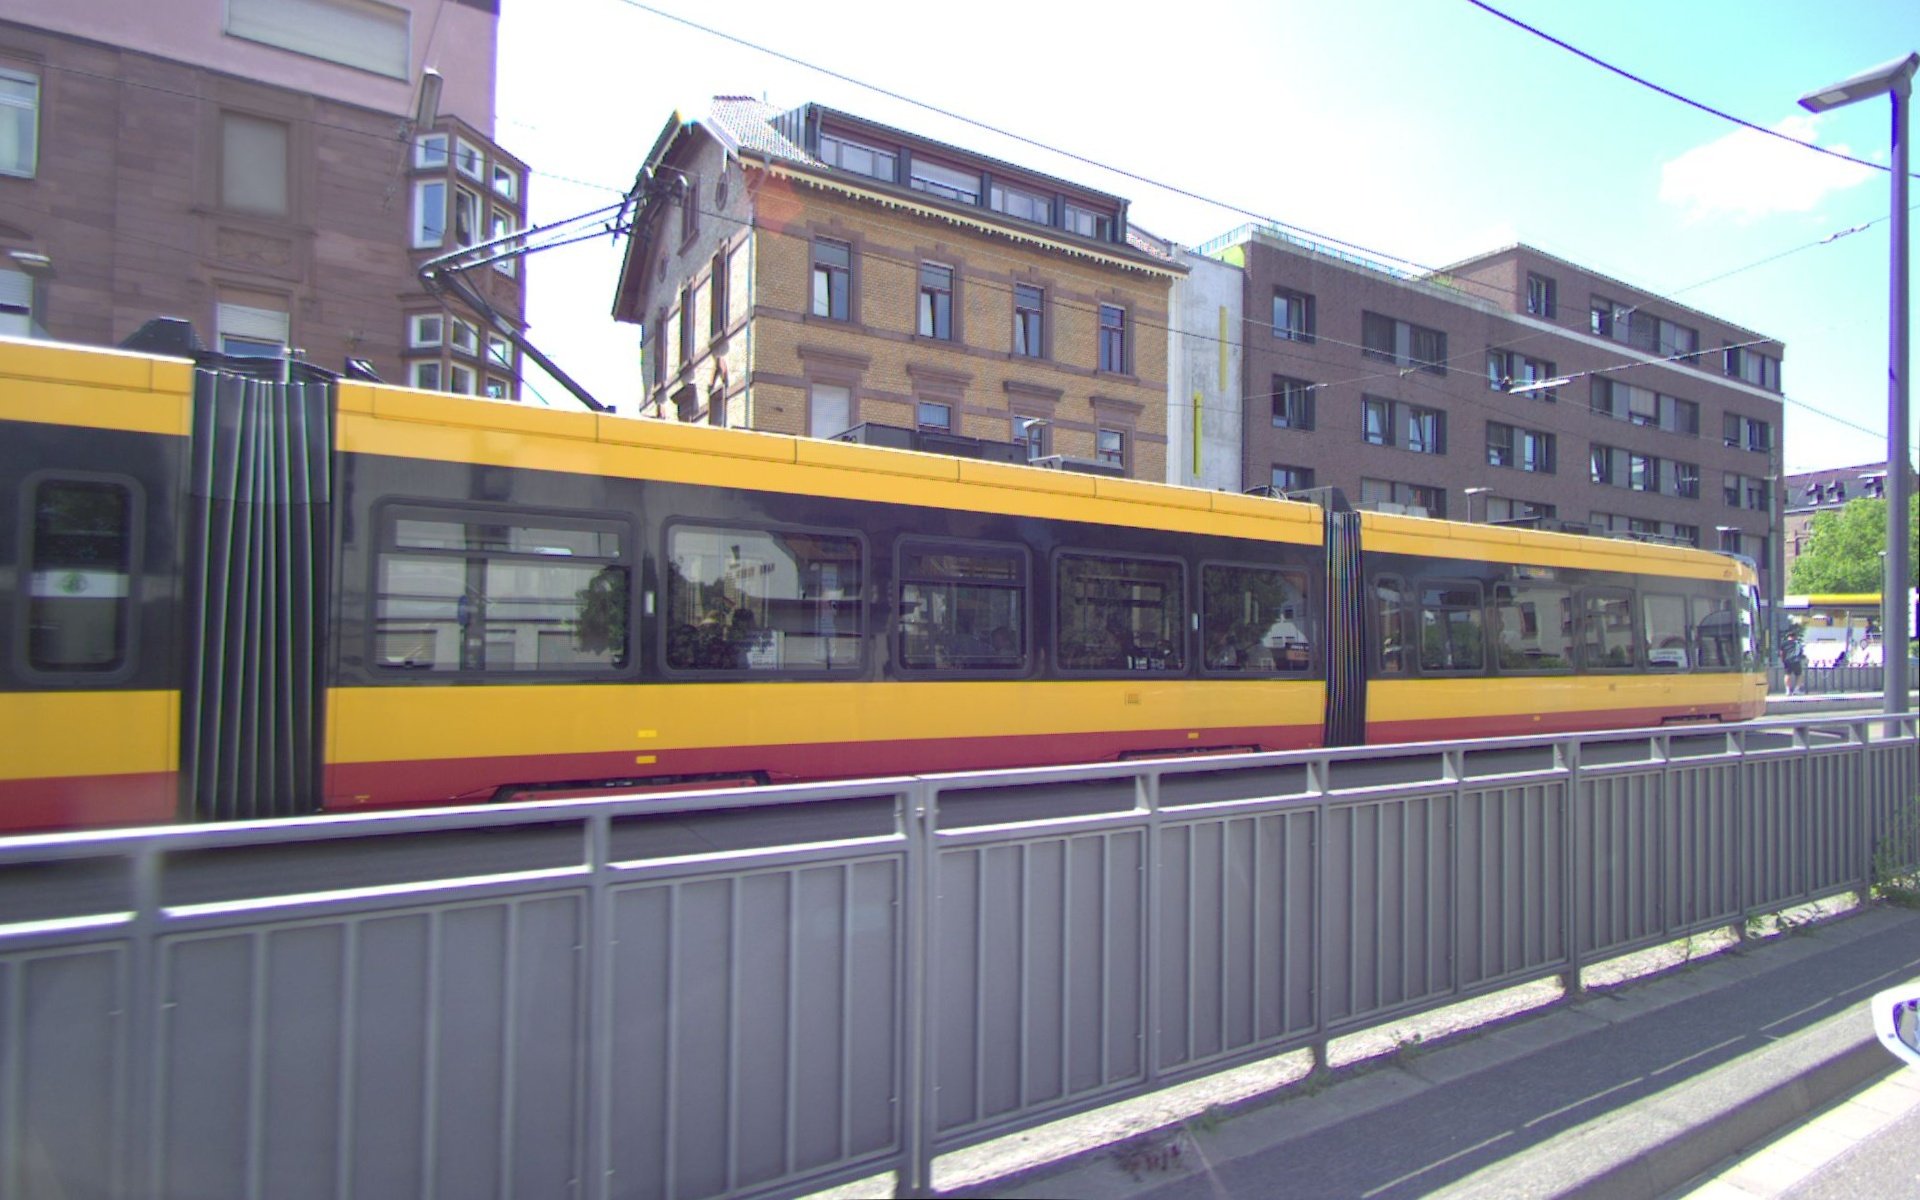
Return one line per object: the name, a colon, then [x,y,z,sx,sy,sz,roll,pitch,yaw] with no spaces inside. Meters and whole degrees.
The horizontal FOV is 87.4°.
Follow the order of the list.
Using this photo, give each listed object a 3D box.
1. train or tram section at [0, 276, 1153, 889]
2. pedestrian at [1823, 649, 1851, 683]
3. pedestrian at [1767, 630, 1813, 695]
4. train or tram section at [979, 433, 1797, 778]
train or tram section: [-7.456,-0.109,6.733,20.267,3.614,3.235,3,-3,-31]
pedestrian: [43.134,3.232,49.383,0.990,1.617,0.755,2,1,-36]
pedestrian: [23.523,1.761,28.466,1.022,1.783,0.682,2,-3,-32]
train or tram section: [7.992,0.409,16.081,16.163,3.614,3.219,3,-3,-31]
